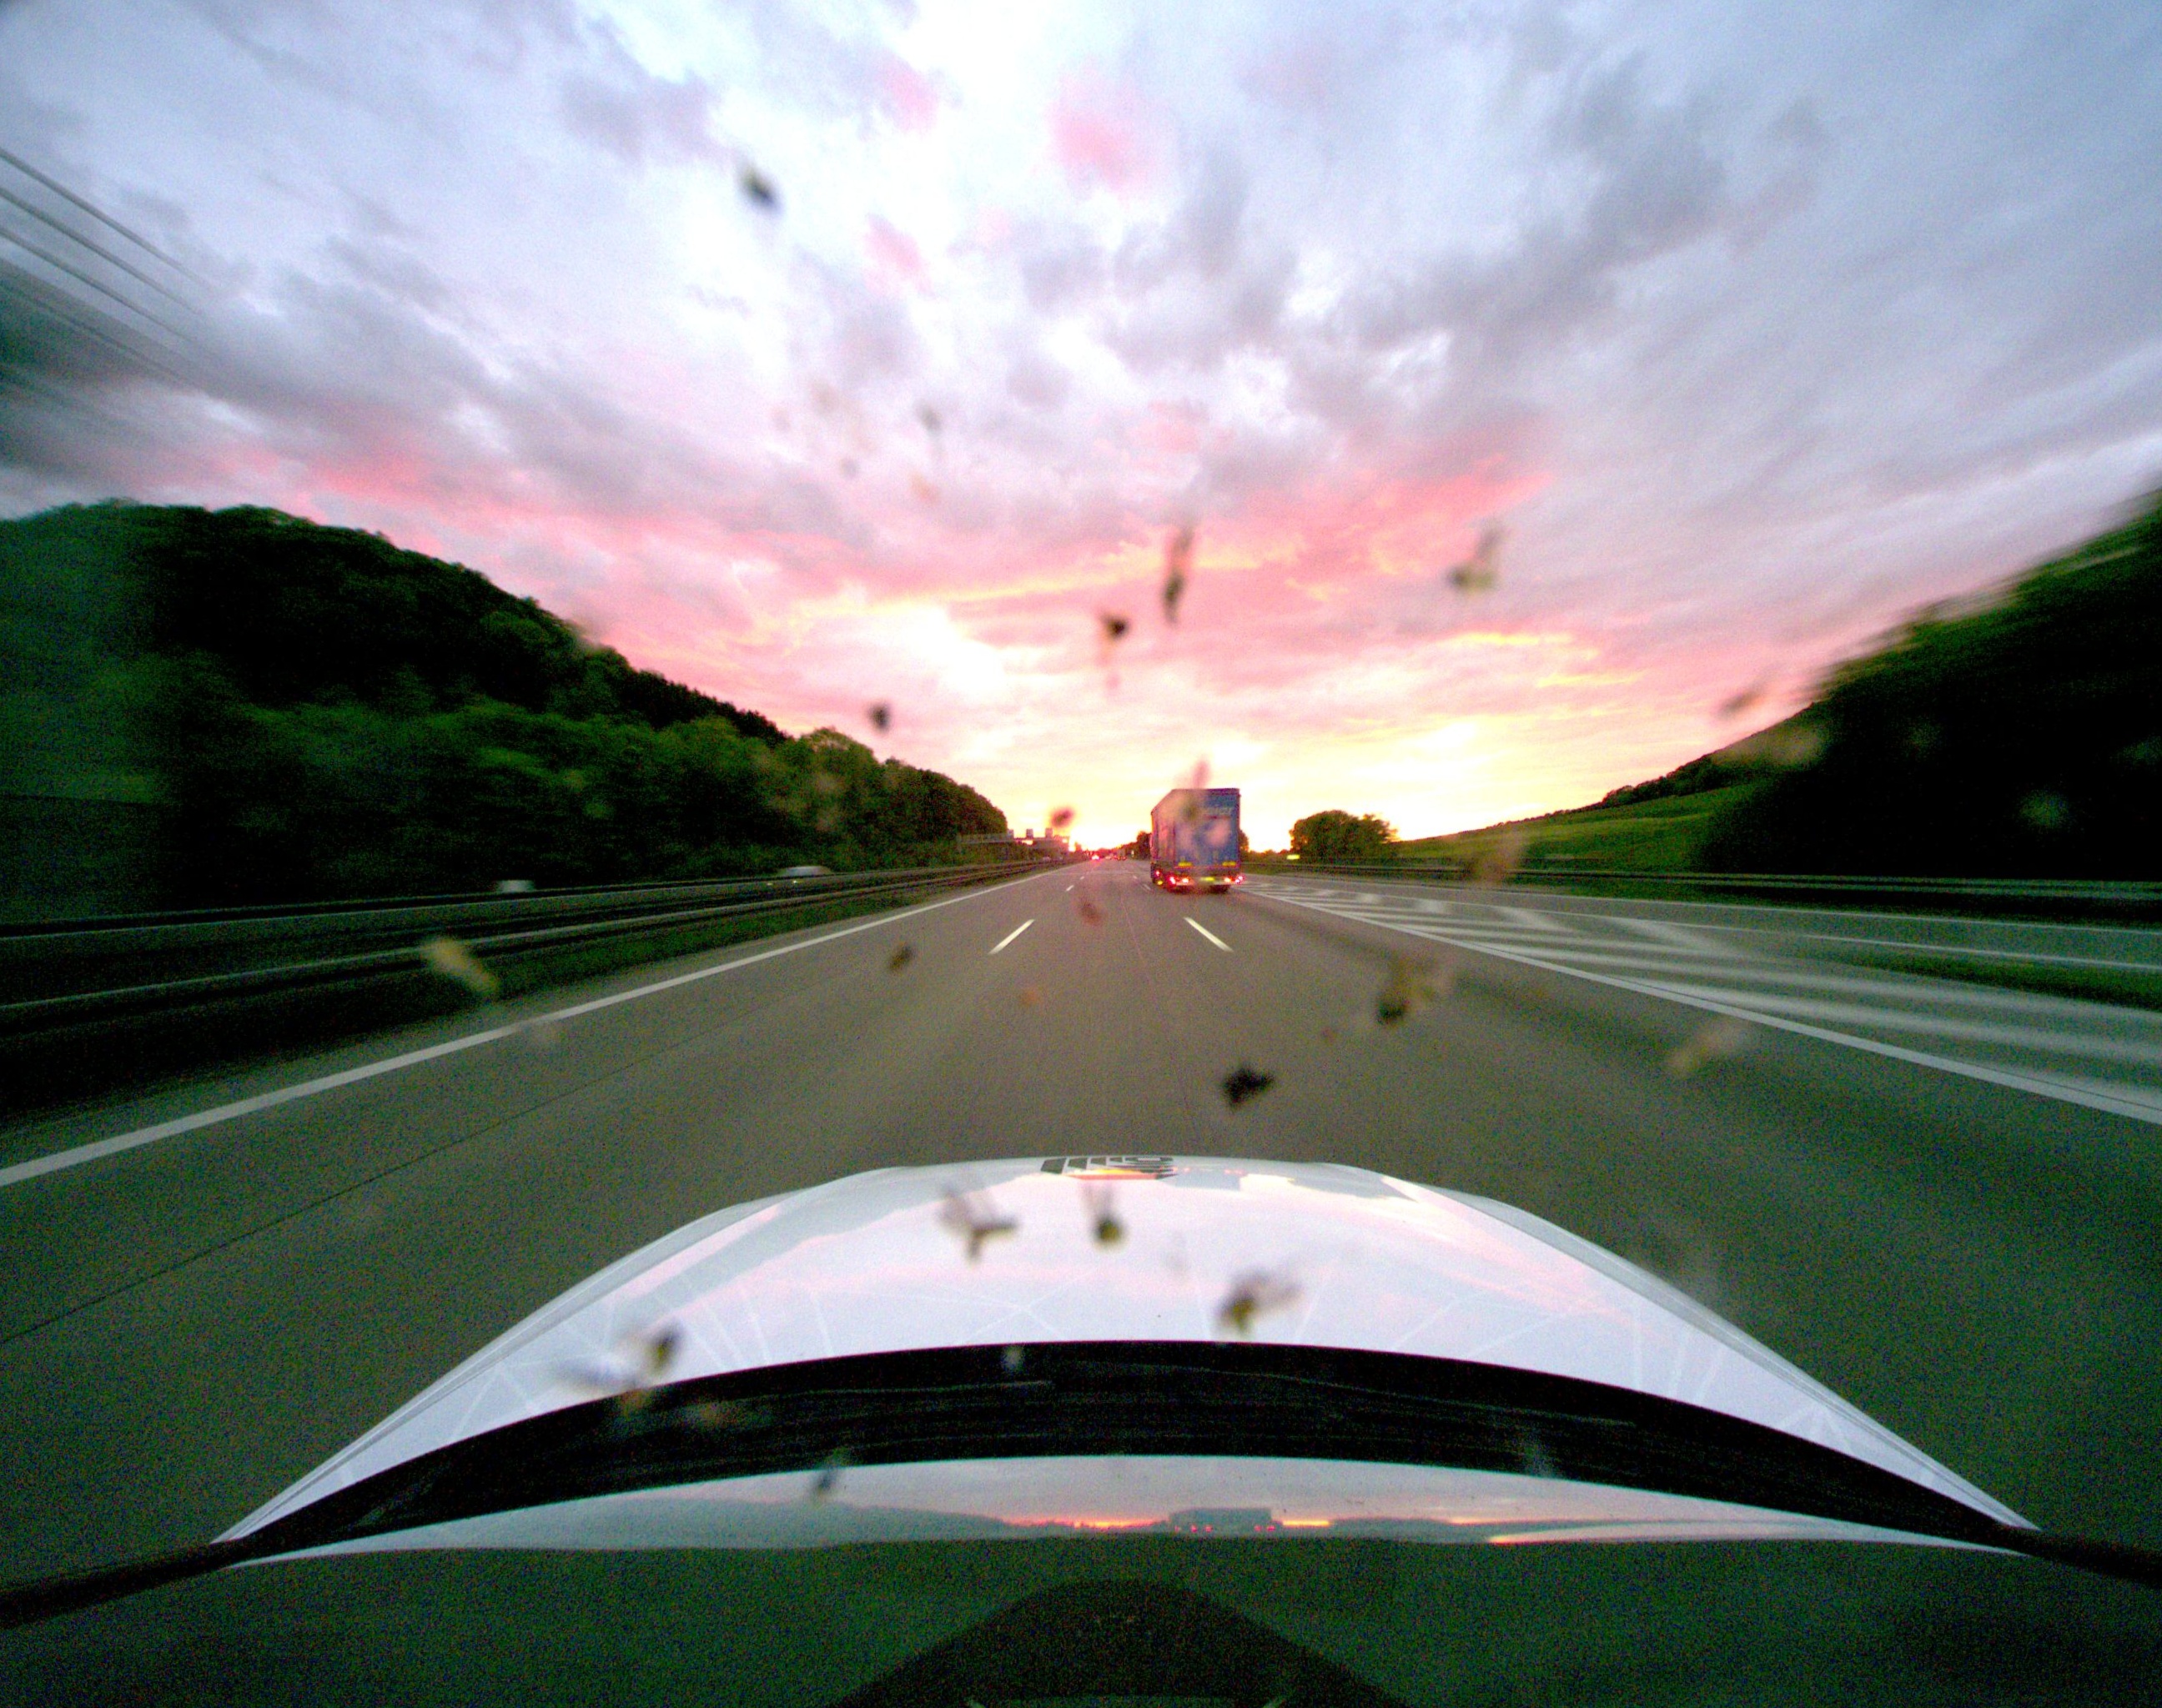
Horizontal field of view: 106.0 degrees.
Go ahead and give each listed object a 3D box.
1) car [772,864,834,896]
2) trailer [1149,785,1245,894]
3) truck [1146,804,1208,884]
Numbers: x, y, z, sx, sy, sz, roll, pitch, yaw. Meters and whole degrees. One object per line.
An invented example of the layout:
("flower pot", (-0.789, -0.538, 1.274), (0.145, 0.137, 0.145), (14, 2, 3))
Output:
("car", (-15.416, 1.409, 45.493), (1.723, 1.586, 4.647), (-1, 0, 2))
("trailer", (4.945, -0.530, 37.573), (2.762, 4.086, 13.742), (-1, 0, 1))
("truck", (5.060, -0.513, 44.021), (2.727, 3.996, 5.850), (-1, 0, 1))
